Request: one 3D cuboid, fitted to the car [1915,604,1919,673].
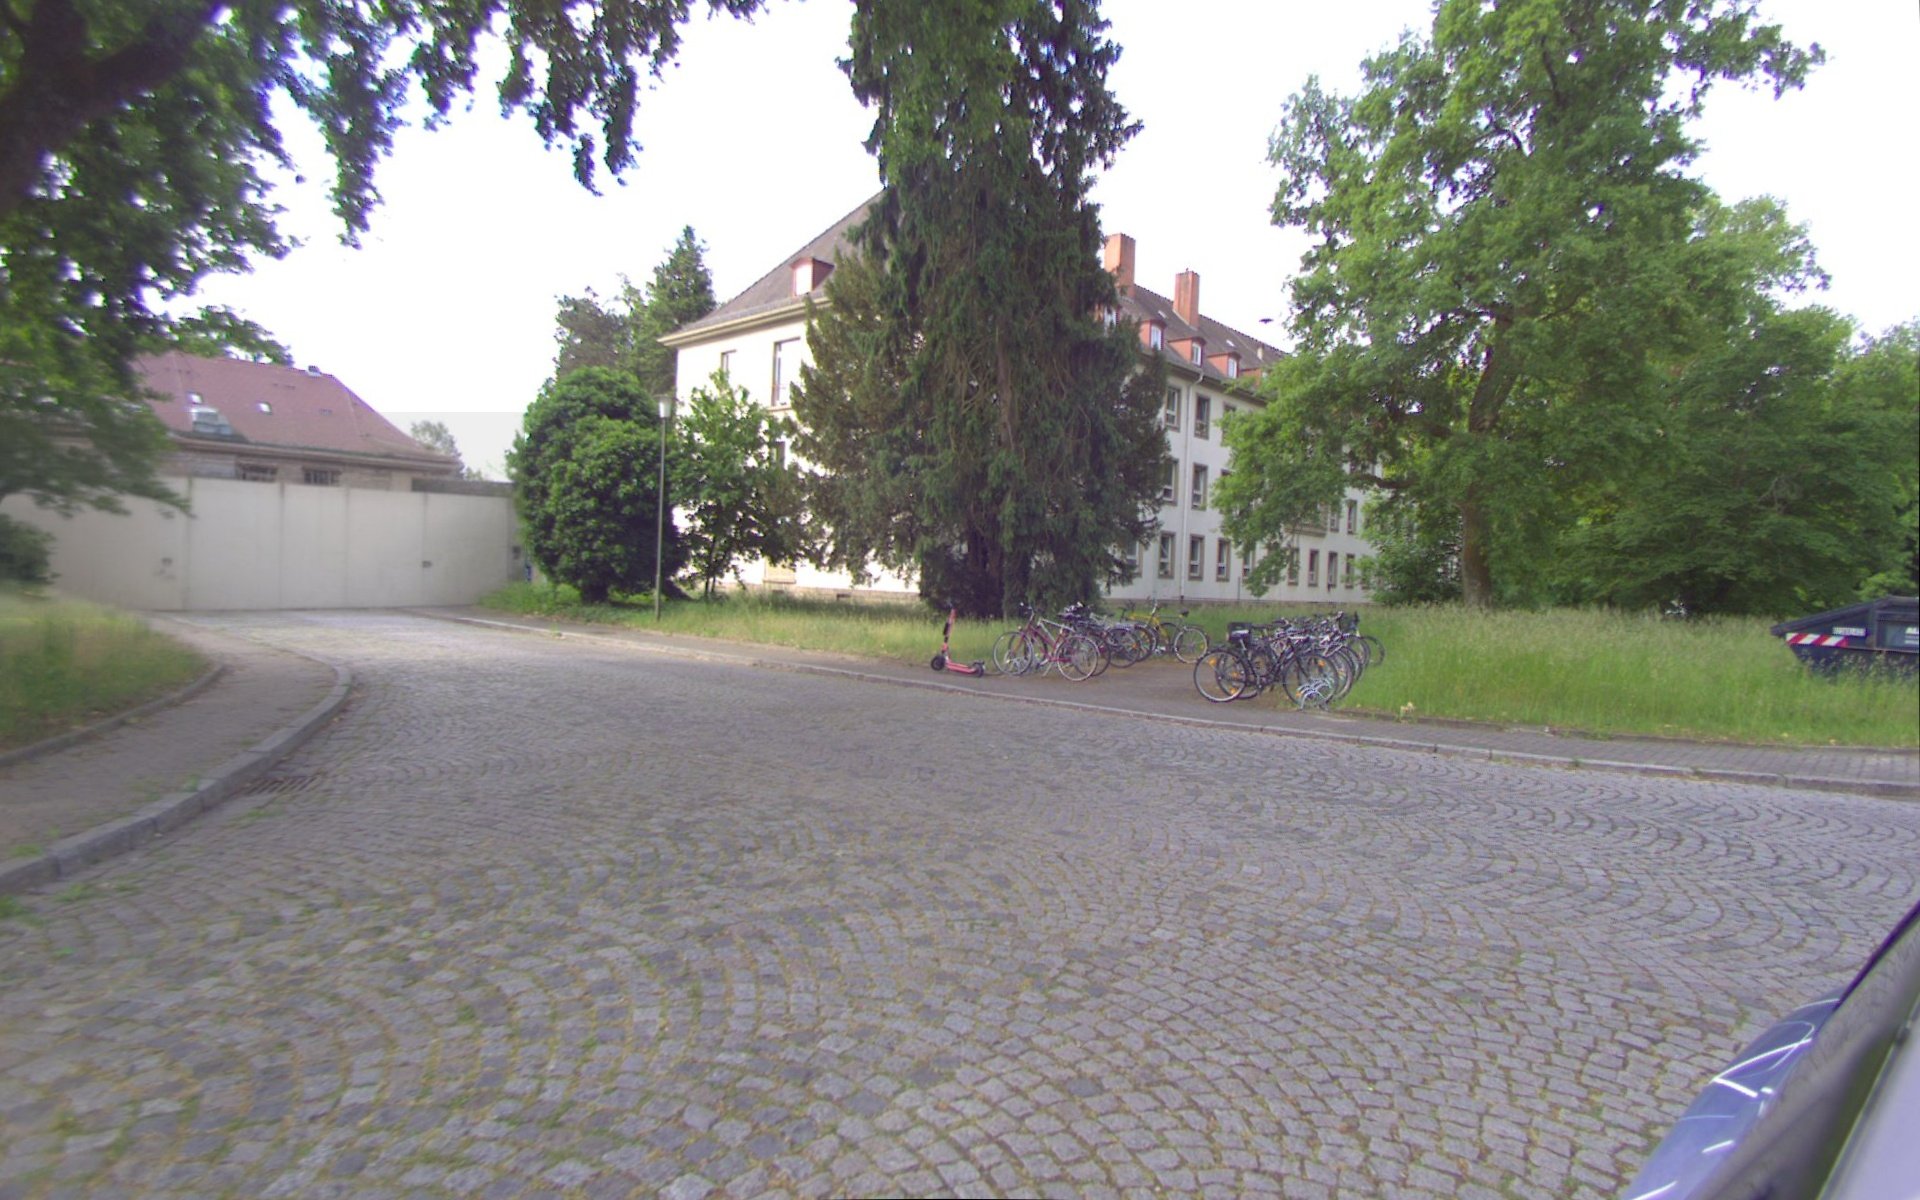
[{"bbox_3d":[24.190,0.797,21.718,5.201,2.085,2.154,5,2,42],"label":"car"}]

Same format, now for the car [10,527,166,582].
[{"bbox_3d":[-41.953,-2.160,48.789,2.120,2.234,5.446,7,3,42],"label":"car"}]

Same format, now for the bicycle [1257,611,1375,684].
[{"bbox_3d":[5.518,0.713,15.705,1.678,1.014,0.627,1,2,25],"label":"bicycle"}]

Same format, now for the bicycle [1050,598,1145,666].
[{"bbox_3d":[2.435,0.555,17.926,1.605,1.086,0.537,2,3,14],"label":"bicycle"}]

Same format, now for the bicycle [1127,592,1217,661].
[{"bbox_3d":[4.093,0.491,19.525,1.622,1.200,0.571,2,3,18],"label":"bicycle"}]

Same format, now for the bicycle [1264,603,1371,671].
[{"bbox_3d":[6.402,0.649,18.156,1.758,1.118,0.537,1,2,25],"label":"bicycle"}]

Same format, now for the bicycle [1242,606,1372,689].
[{"bbox_3d":[5.170,0.680,15.105,1.780,1.117,0.697,1,2,25],"label":"bicycle"}]

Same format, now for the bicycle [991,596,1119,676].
[{"bbox_3d":[1.547,0.562,16.539,1.970,1.128,0.638,3,3,25],"label":"bicycle"}]

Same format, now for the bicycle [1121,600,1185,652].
[{"bbox_3d":[4.089,0.548,21.452,1.249,1.042,0.430,1,-2,25],"label":"bicycle"}]

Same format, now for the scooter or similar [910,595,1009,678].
[{"bbox_3d":[-0.028,0.543,15.972,0.671,1.210,1.549,0,2,-43],"label":"scooter or similar"}]

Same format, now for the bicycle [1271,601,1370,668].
[{"bbox_3d":[6.636,0.620,18.644,1.684,1.130,0.537,1,2,25],"label":"bicycle"}]

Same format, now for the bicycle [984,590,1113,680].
[{"bbox_3d":[1.383,0.517,15.872,1.881,1.237,0.638,3,3,24],"label":"bicycle"}]

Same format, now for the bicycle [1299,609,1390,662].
[{"bbox_3d":[7.392,0.663,19.490,1.604,0.922,0.522,1,2,25],"label":"bicycle"}]

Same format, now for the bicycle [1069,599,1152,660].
[{"bbox_3d":[2.872,0.548,19.306,1.494,1.048,0.543,2,3,14],"label":"bicycle"}]

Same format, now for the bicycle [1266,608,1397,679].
[{"bbox_3d":[6.008,0.685,16.377,1.939,1.017,0.681,1,2,25],"label":"bicycle"}]

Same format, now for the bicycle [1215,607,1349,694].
[{"bbox_3d":[4.626,0.698,14.553,1.754,1.117,0.697,1,2,25],"label":"bicycle"}]

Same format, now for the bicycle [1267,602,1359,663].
[{"bbox_3d":[6.700,0.605,19.211,1.604,1.072,0.522,1,2,25],"label":"bicycle"}]
